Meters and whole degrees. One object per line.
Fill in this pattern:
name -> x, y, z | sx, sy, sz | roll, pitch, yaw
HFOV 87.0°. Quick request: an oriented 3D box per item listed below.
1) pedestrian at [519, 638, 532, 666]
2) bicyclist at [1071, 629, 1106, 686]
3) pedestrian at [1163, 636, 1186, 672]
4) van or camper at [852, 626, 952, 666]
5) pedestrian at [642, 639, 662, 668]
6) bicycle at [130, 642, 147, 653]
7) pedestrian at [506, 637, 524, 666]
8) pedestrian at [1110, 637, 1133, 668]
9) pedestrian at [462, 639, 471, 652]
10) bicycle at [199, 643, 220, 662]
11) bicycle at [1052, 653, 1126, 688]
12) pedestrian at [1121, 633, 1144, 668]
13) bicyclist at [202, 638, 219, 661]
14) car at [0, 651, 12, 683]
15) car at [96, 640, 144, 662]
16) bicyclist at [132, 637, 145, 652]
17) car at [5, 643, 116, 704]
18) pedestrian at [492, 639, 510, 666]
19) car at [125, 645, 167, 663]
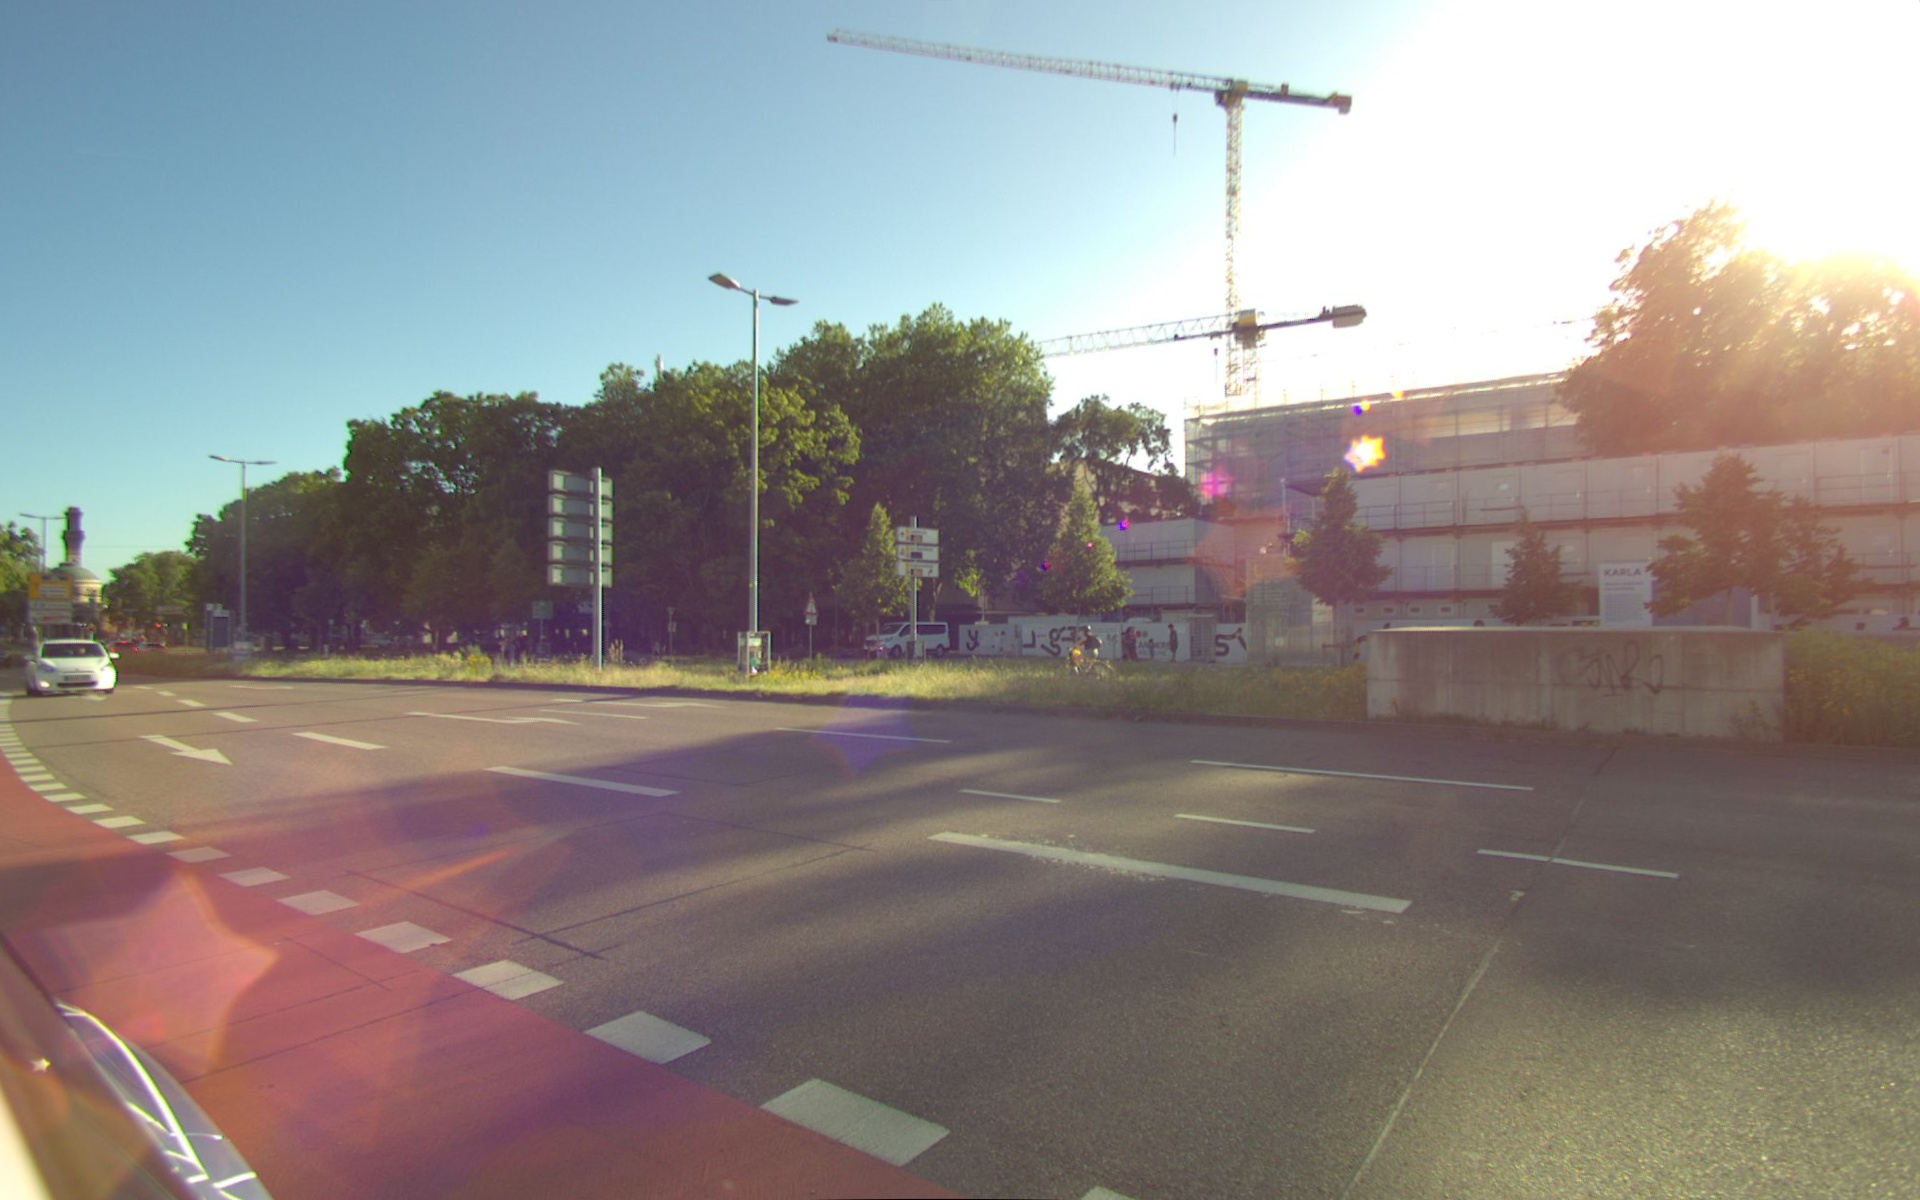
pedestrian -> -27.293, 3.240, 63.613 | 0.655, 1.754, 0.518 | -2, -3, 42
bicyclist -> 3.435, 1.516, 27.024 | 0.681, 1.500, 0.600 | -3, -3, 43
pedestrian -> 10.009, 2.519, 47.250 | 0.834, 1.701, 0.574 | -2, -3, 36
van or camper -> -3.069, 2.495, 54.915 | 2.255, 2.029, 5.607 | 0, -2, 39
pedestrian -> -16.798, 2.923, 55.186 | 0.942, 1.539, 0.606 | -3, -4, 43
bicycle -> -89.489, 5.145, 110.249 | 0.832, 1.240, 2.021 | 1, -2, -23
pedestrian -> -27.732, 3.206, 63.104 | 0.760, 1.754, 0.763 | -2, -3, 41
pedestrian -> 7.323, 2.362, 45.834 | 0.834, 1.388, 0.574 | -2, -3, 36
pedestrian -> -52.421, 4.871, 107.452 | 0.599, 1.350, 0.723 | -2, -3, 41
bicycle -> -54.076, 3.762, 72.952 | 2.258, 1.285, 0.749 | 0, -2, 42
bicycle -> 3.427, 1.863, 27.013 | 1.951, 0.868, 0.605 | -3, -3, 43
pedestrian -> 7.845, 2.306, 46.066 | 0.834, 1.570, 0.574 | -2, -3, 36
bicyclist -> -53.995, 3.540, 72.894 | 1.202, 1.602, 0.739 | 0, -2, 42
car -> -52.306, 3.611, 54.186 | 3.996, 1.651, 1.712 | -2, -1, 39
car -> -63.717, 3.843, 76.714 | 4.055, 1.576, 1.974 | -2, -3, 38
bicyclist -> -89.476, 4.853, 110.221 | 0.837, 1.631, 0.976 | 1, -2, -23
car -> -24.180, 1.918, 27.168 | 3.761, 1.475, 1.658 | -2, -2, 39
pedestrian -> -28.306, 3.209, 62.385 | 0.726, 1.653, 0.734 | -2, -3, 41
car -> -71.236, 4.714, 88.550 | 4.582, 1.538, 1.914 | -2, -3, 39
